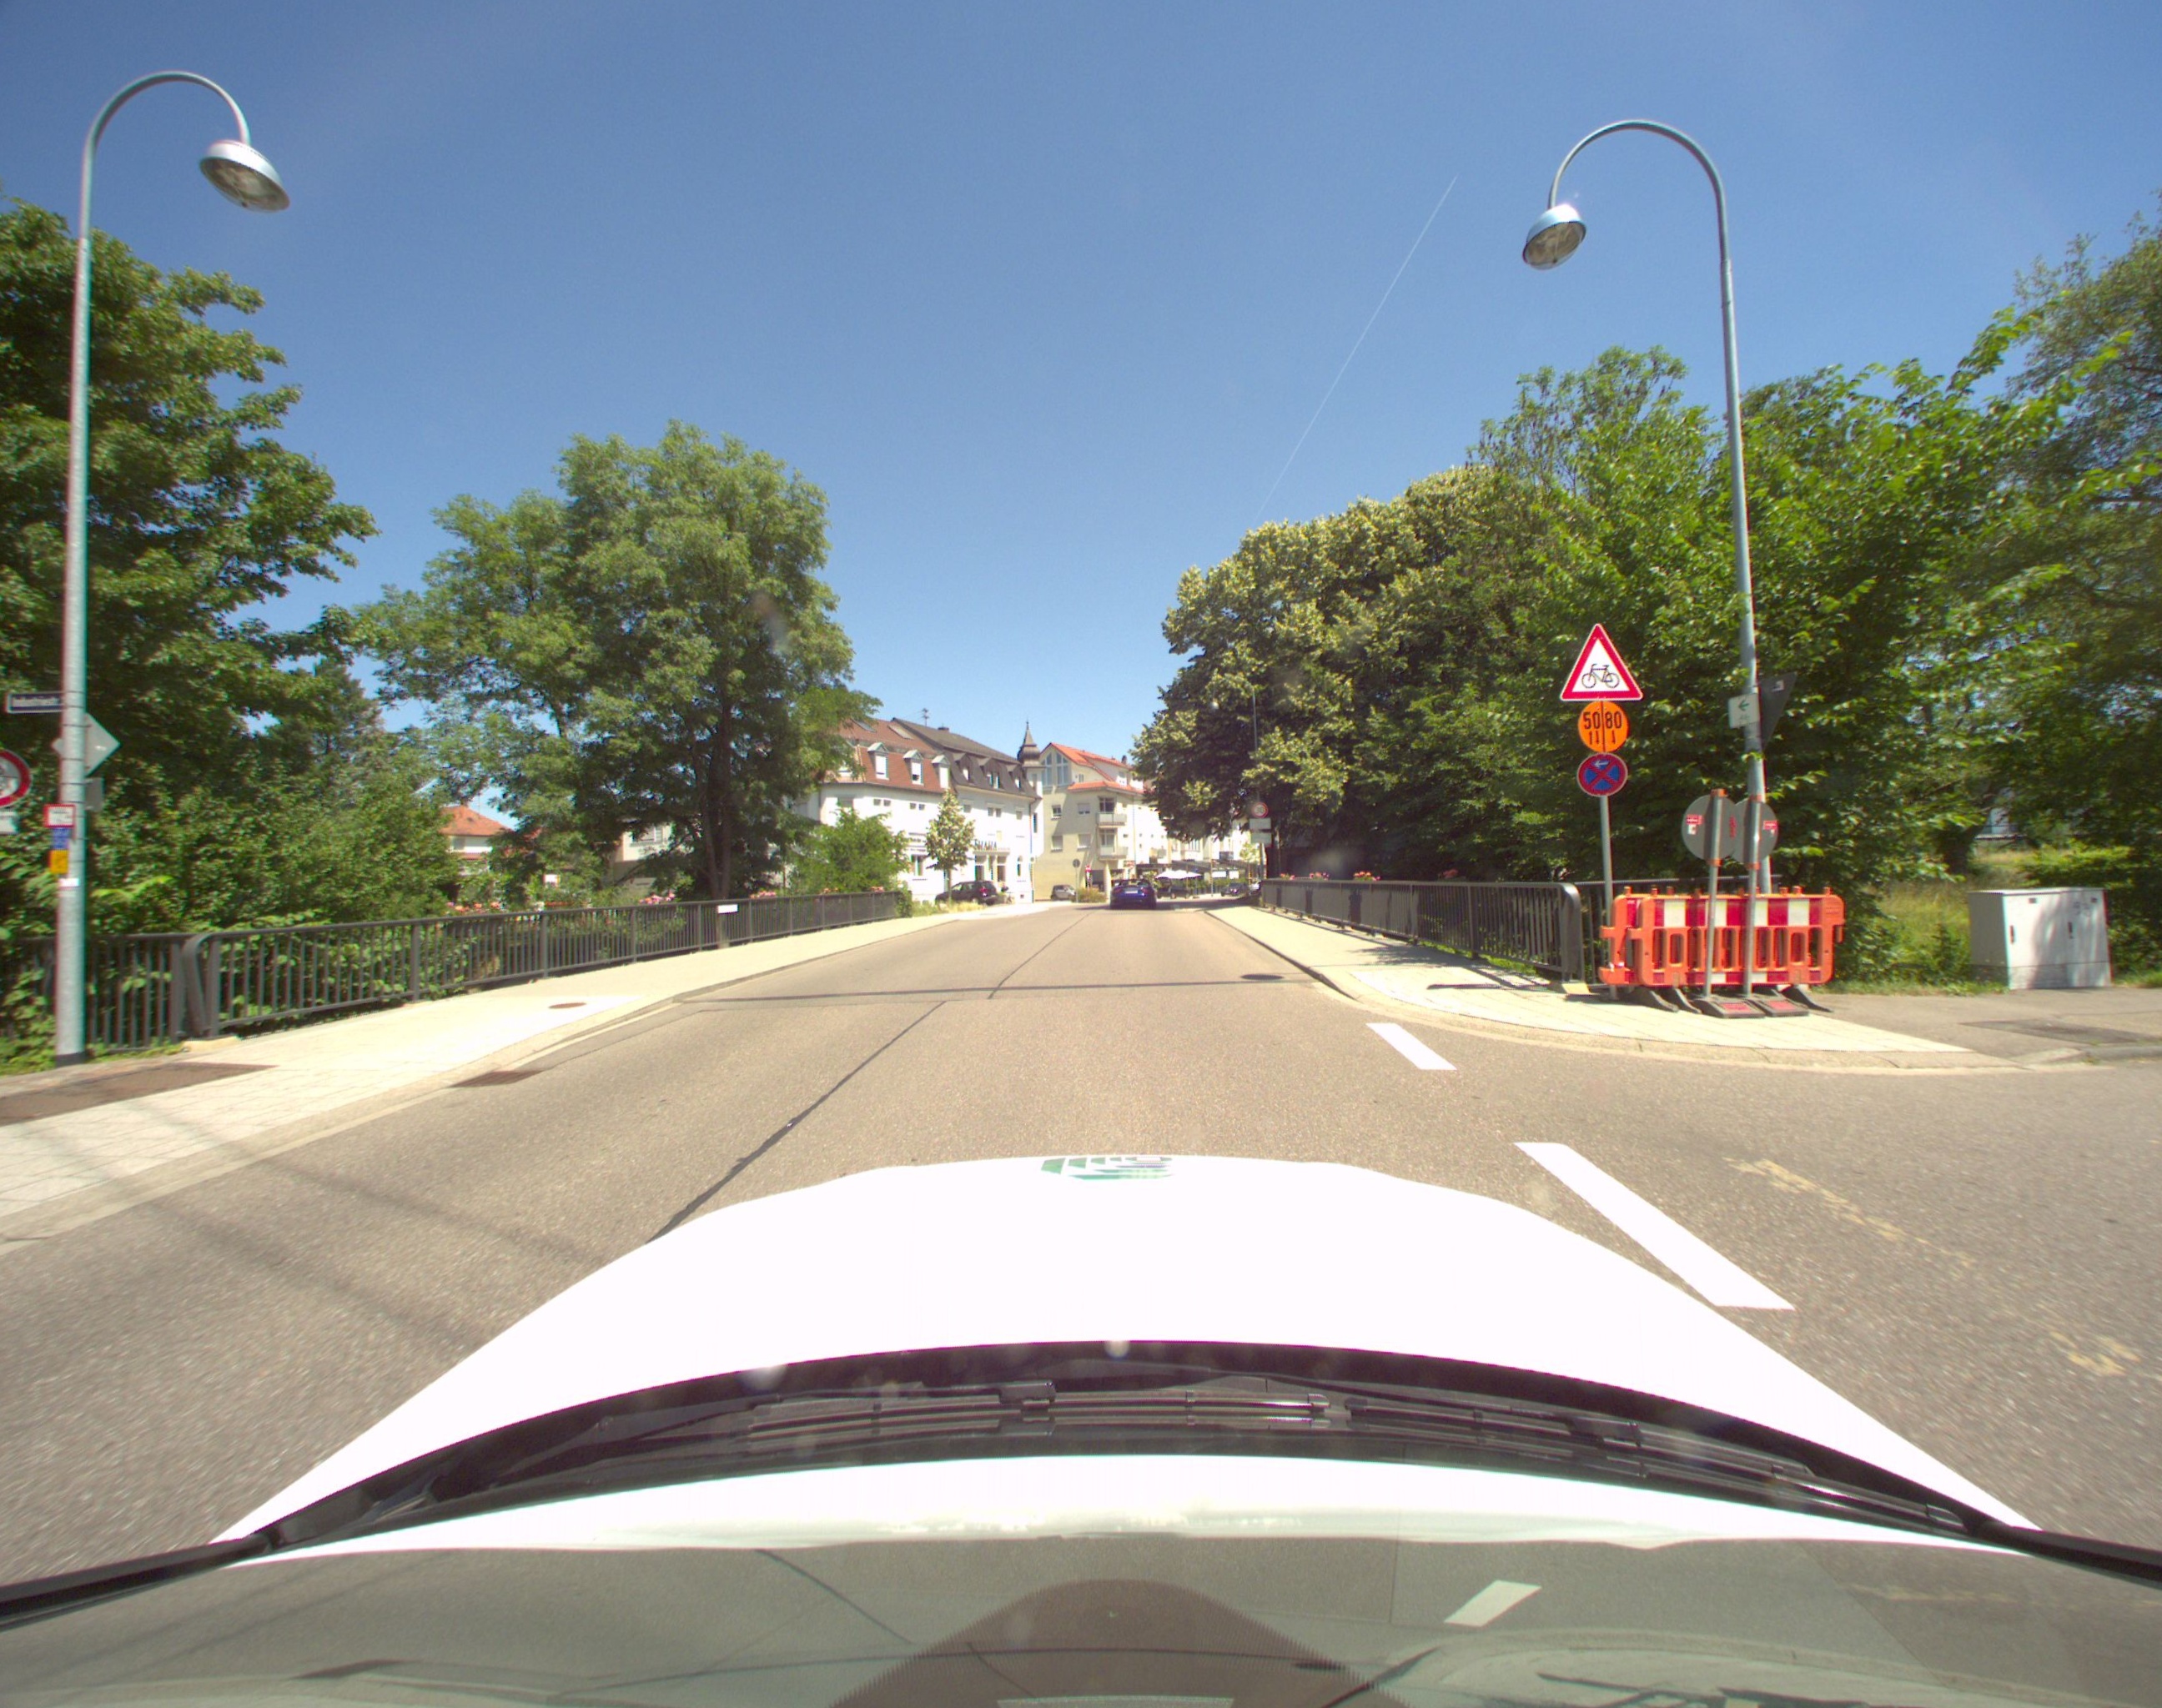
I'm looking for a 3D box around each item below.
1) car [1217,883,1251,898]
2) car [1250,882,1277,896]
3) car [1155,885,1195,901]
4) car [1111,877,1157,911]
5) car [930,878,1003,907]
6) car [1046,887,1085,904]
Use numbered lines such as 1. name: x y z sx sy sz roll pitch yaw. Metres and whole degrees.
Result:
1. car: 15.817 3.775 84.086 1.816 1.430 4.812 -2 -2 31
2. car: 20.298 3.879 90.408 1.629 1.480 3.965 -1 -2 34
3. car: 8.719 3.618 75.573 1.696 1.461 4.155 -1 -3 39
4. car: 2.314 1.708 35.611 1.863 1.342 4.599 -1 -2 3
5. car: -7.297 2.442 51.747 4.142 1.662 1.982 -3 -3 24
6. car: -1.455 3.980 77.424 3.233 1.458 1.701 -3 -2 24
